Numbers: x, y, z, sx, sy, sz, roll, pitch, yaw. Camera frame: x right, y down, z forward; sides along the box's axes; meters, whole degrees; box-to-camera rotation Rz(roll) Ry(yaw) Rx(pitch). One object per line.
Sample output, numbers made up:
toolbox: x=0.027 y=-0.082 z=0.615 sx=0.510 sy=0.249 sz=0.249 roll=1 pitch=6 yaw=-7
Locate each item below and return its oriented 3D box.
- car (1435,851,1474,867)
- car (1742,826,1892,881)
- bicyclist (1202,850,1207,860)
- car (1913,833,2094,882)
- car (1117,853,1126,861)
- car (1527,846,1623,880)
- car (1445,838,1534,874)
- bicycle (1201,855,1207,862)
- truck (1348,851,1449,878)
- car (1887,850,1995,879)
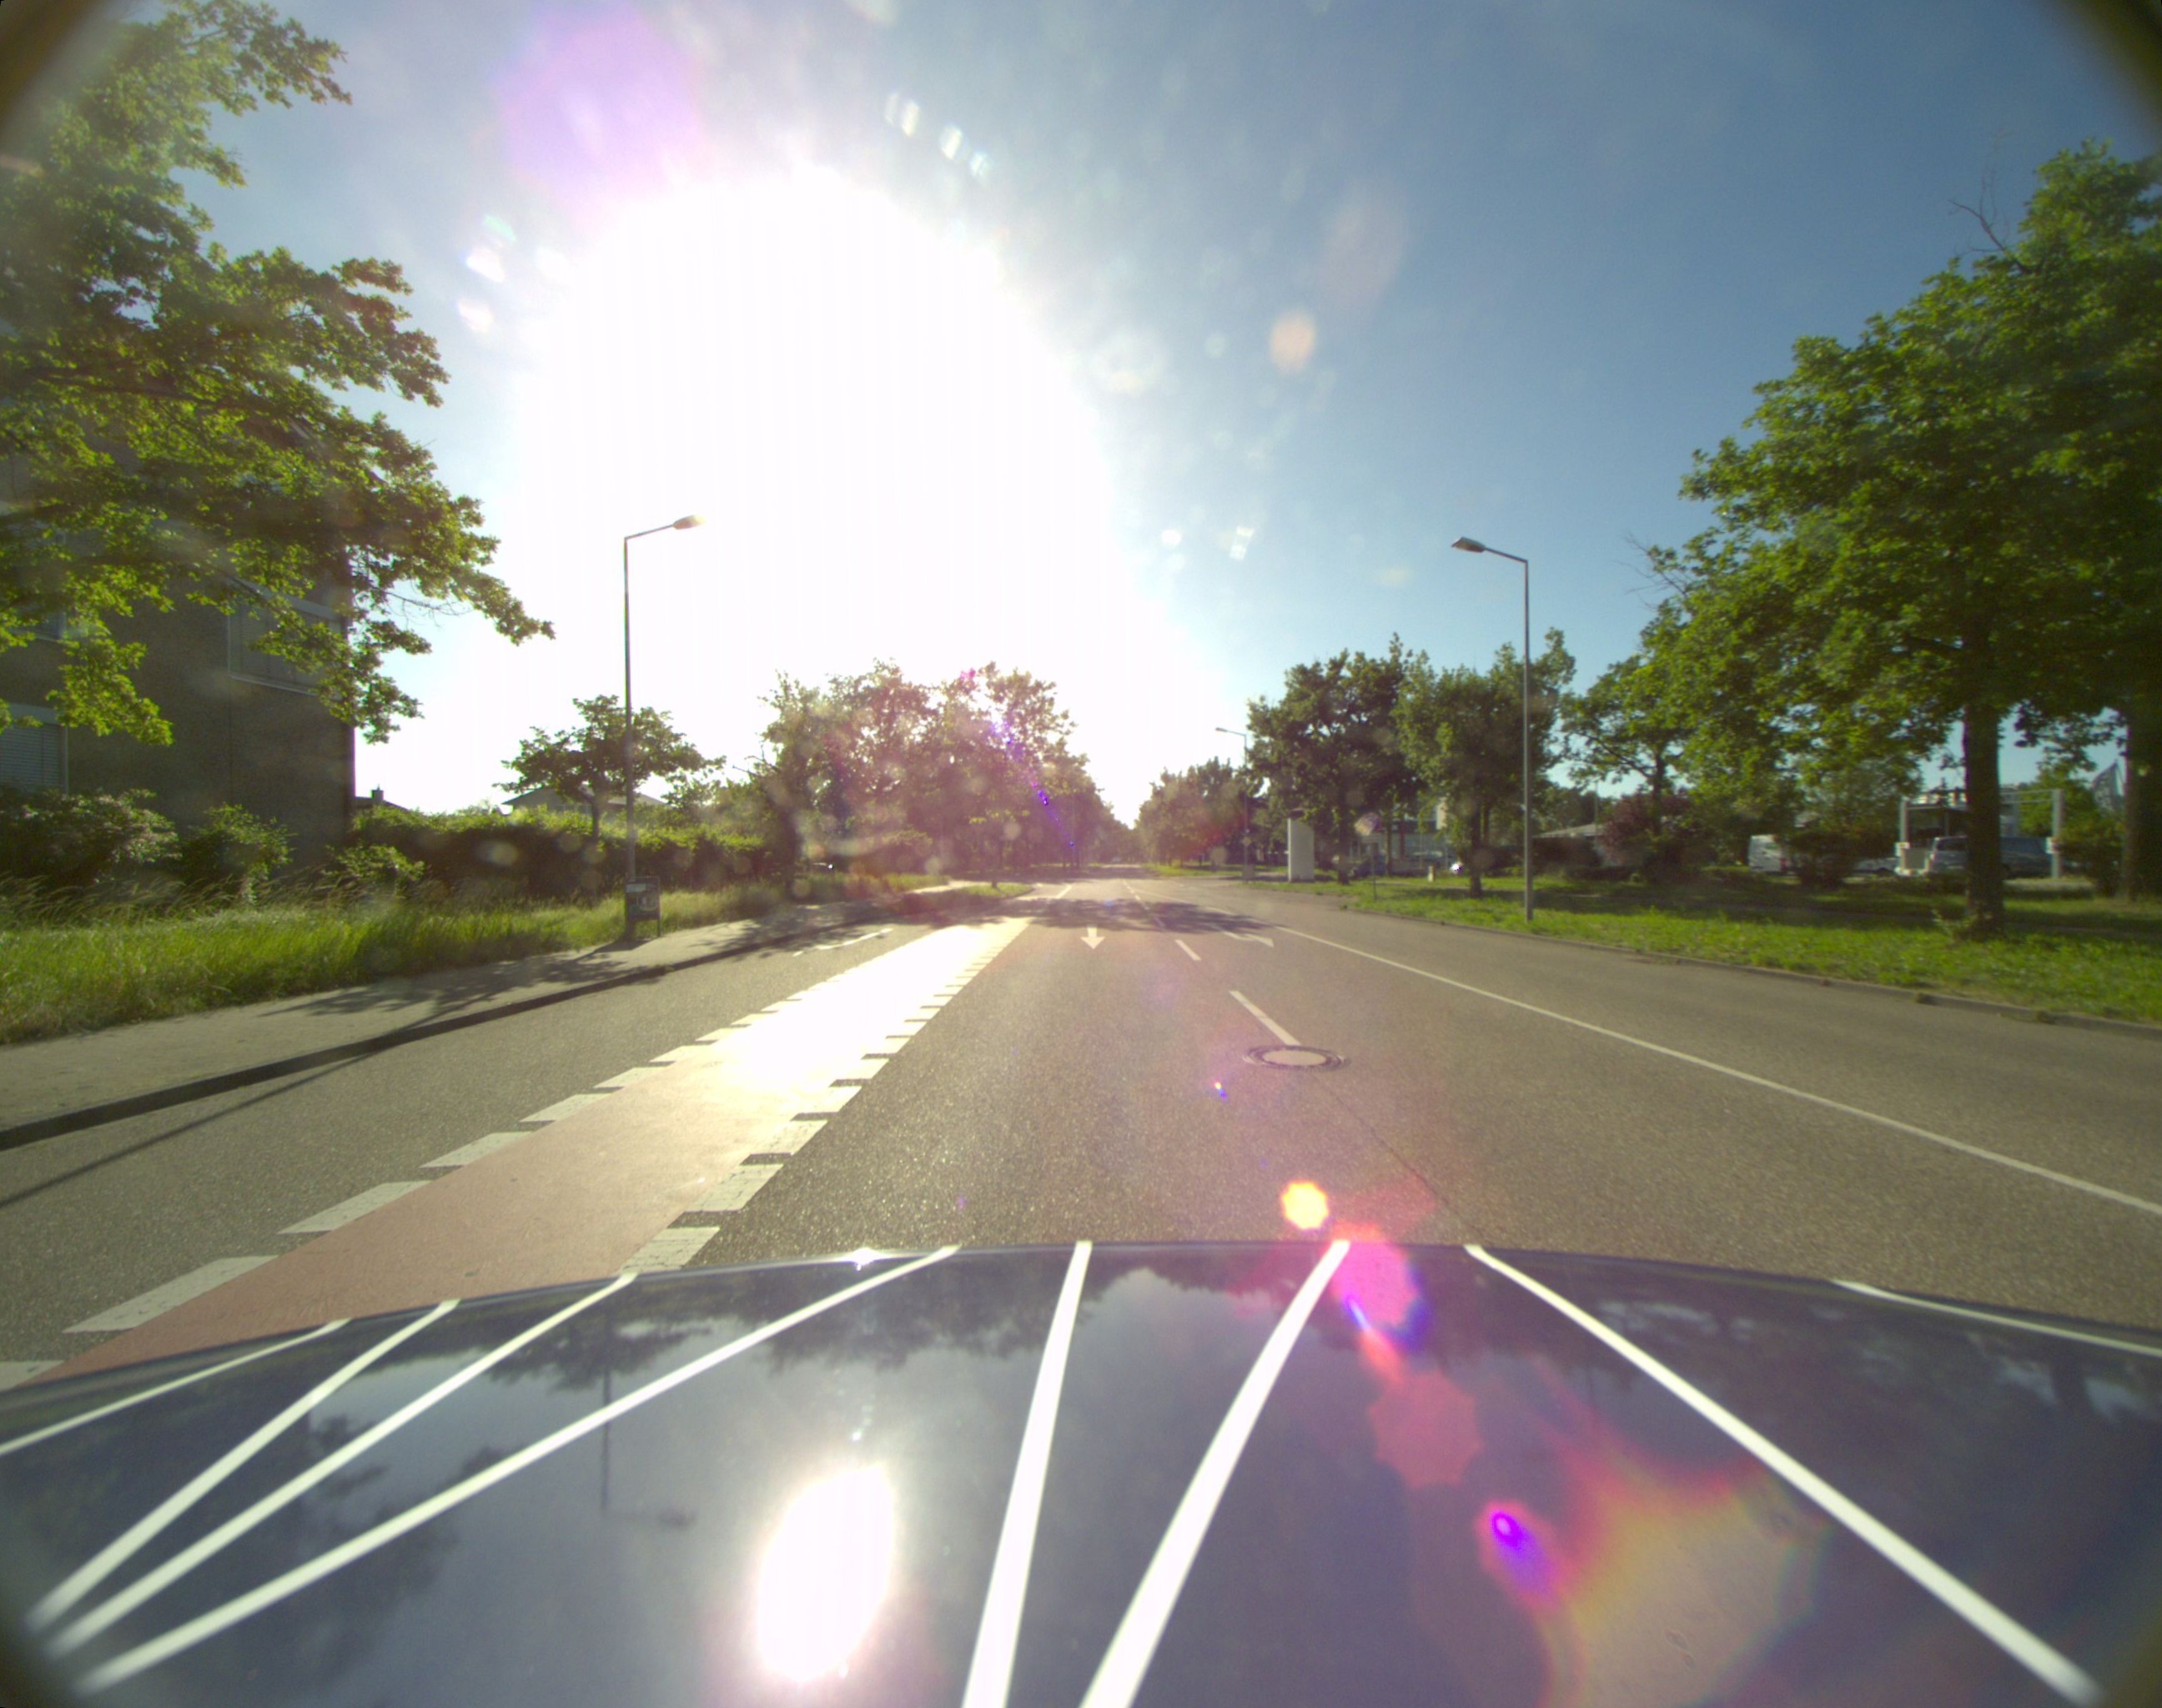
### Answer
car: x=39.669 y=0.500 z=80.853 sx=1.998 sy=1.486 sz=4.296 roll=-2 pitch=2 yaw=0
car: x=40.047 y=-0.049 z=41.442 sx=6.176 sy=2.687 sz=2.300 roll=-2 pitch=1 yaw=-3
bicyclist: x=19.891 y=0.150 z=122.802 sx=0.665 sy=1.619 sz=0.659 roll=-2 pitch=1 yaw=3
car: x=40.458 y=0.140 z=33.413 sx=5.424 sy=2.058 sz=2.300 roll=0 pitch=0 yaw=-3
car: x=8.408 y=0.619 z=157.610 sx=1.827 sy=1.477 sz=3.999 roll=-2 pitch=1 yaw=1
car: x=39.997 y=0.689 z=61.617 sx=6.356 sy=2.501 sz=2.300 roll=-2 pitch=1 yaw=-3
car: x=32.778 y=0.128 z=61.057 sx=5.878 sy=2.687 sz=2.300 roll=-2 pitch=1 yaw=-3
bicycle: x=19.891 y=0.733 z=122.931 sx=0.552 sy=1.155 sz=2.334 roll=-2 pitch=1 yaw=3
truck: x=25.250 y=0.808 z=60.575 sx=7.130 sy=2.038 sz=2.140 roll=0 pitch=1 yaw=-2
car: x=41.159 y=0.503 z=36.407 sx=3.532 sy=1.294 sz=1.574 roll=-1 pitch=0 yaw=-2
